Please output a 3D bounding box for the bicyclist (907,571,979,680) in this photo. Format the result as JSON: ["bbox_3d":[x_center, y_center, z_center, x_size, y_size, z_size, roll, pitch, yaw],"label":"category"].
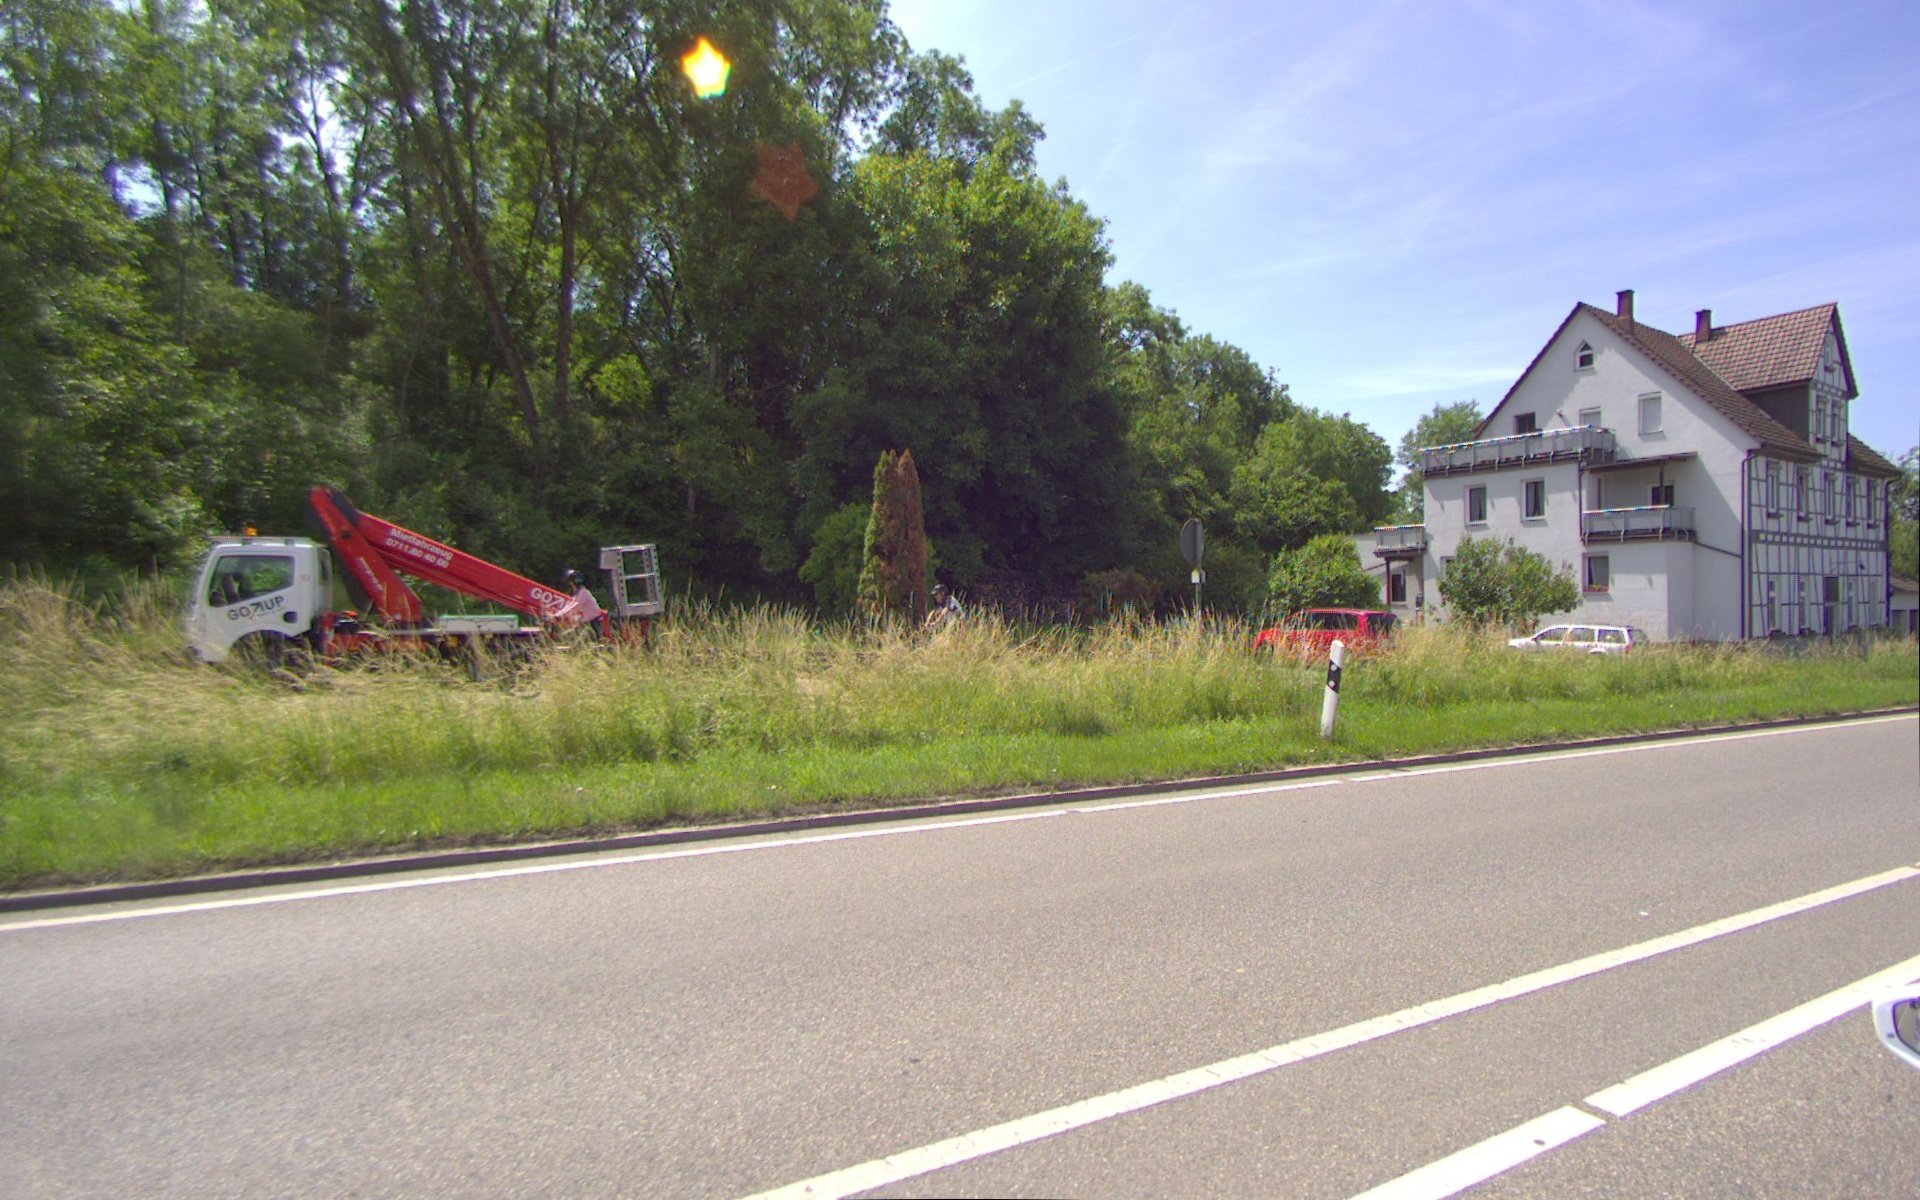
[{"bbox_3d":[-0.282,0.411,16.487,0.924,1.737,0.745,1,1,-26],"label":"bicyclist"}]

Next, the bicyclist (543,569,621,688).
[{"bbox_3d":[-5.342,0.386,14.184,0.924,1.616,0.745,1,1,-28],"label":"bicyclist"}]

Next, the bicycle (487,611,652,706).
[{"bbox_3d":[-5.481,0.796,14.122,2.078,1.229,0.745,1,1,-28],"label":"bicycle"}]

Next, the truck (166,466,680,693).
[{"bbox_3d":[-8.033,-0.232,15.808,6.688,3.003,2.018,1,1,-28],"label":"truck"}]

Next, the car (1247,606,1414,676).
[{"bbox_3d":[9.740,1.029,26.705,1.809,1.640,4.012,1,0,-27],"label":"car"}]

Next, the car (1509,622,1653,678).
[{"bbox_3d":[18.783,1.462,30.489,1.594,1.485,3.355,1,1,-34],"label":"car"}]

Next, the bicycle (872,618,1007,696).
[{"bbox_3d":[-0.323,0.916,16.477,2.077,1.196,0.746,1,1,-26],"label":"bicycle"}]
